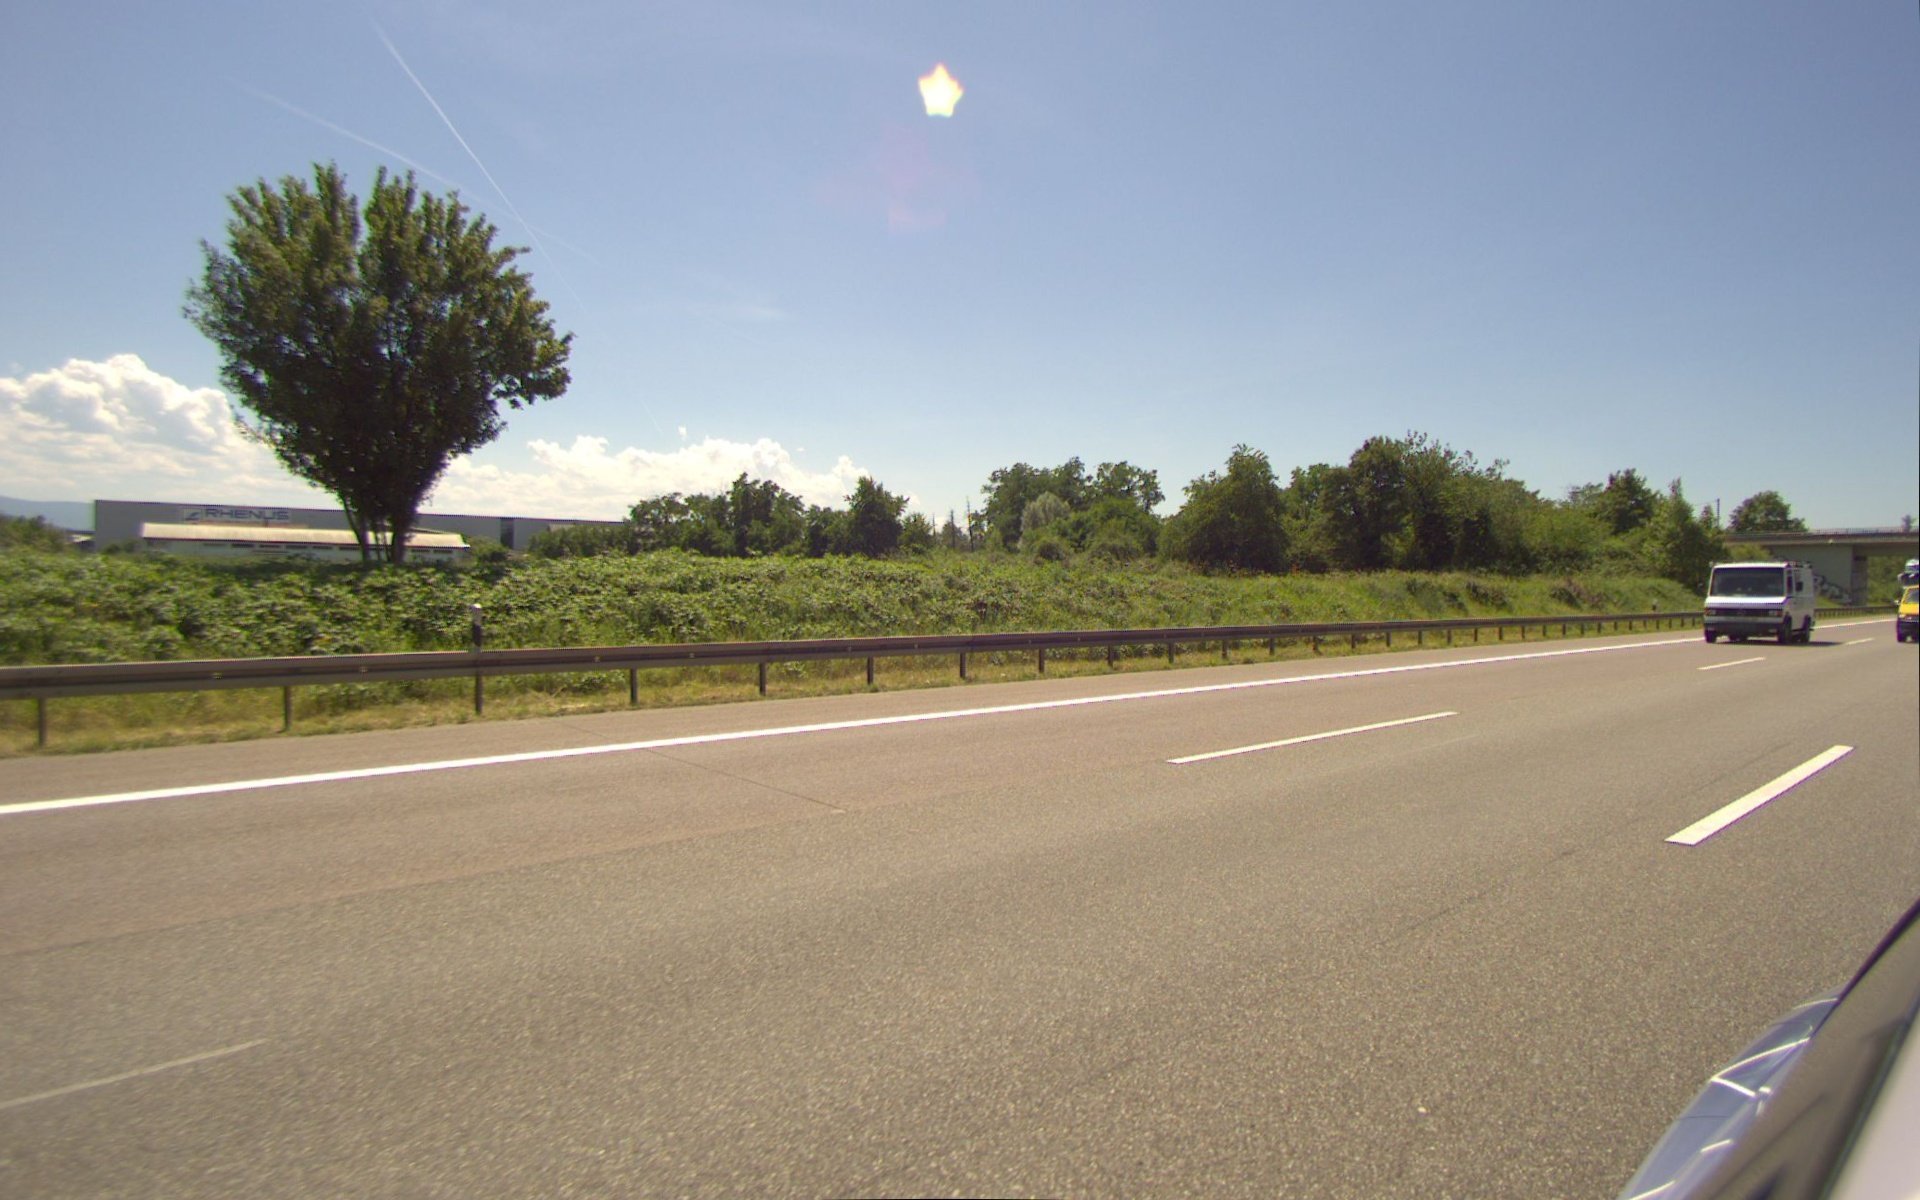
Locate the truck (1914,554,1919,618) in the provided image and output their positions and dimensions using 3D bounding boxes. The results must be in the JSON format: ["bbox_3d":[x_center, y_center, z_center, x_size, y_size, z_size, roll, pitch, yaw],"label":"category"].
[{"bbox_3d":[67.340,-0.963,68.566,13.125,4.097,2.802,-1,0,-42],"label":"truck"}]

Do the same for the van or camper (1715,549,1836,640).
[{"bbox_3d":[26.932,-0.194,33.325,6.258,2.737,2.117,-1,0,-42],"label":"van or camper"}]

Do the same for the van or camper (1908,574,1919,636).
[{"bbox_3d":[33.800,0.156,34.143,5.780,2.029,2.062,0,1,-41],"label":"van or camper"}]
